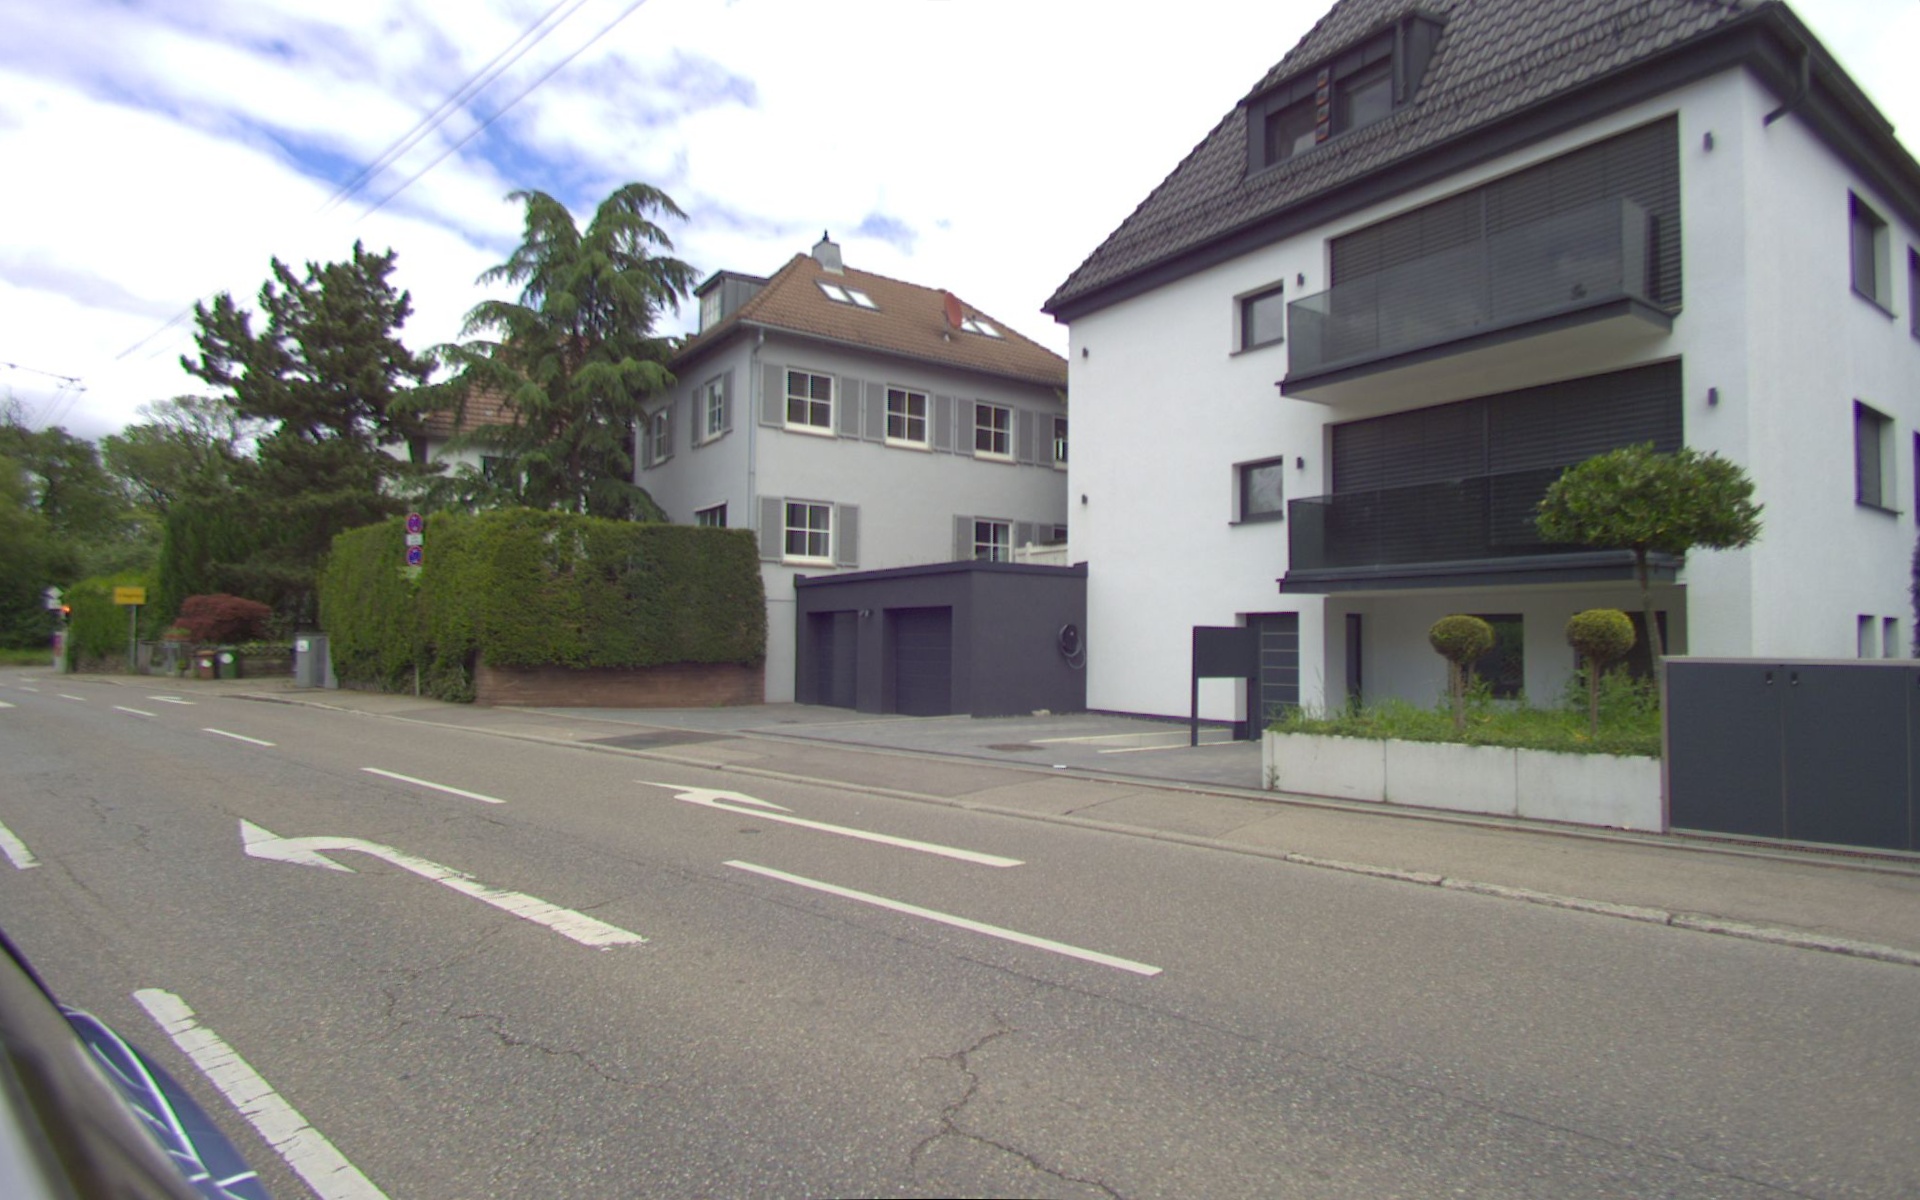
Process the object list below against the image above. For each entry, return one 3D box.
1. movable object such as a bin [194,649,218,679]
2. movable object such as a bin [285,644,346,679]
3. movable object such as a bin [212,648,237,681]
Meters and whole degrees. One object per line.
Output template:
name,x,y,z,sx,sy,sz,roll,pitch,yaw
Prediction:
movable object such as a bin,-24.291,2.060,32.624,0.457,0.949,0.649,0,-2,-21
movable object such as a bin,-21.317,2.025,33.488,1.569,1.089,0.719,0,-2,-18
movable object such as a bin,-23.822,2.094,32.778,0.472,1.042,0.718,0,-2,-21
